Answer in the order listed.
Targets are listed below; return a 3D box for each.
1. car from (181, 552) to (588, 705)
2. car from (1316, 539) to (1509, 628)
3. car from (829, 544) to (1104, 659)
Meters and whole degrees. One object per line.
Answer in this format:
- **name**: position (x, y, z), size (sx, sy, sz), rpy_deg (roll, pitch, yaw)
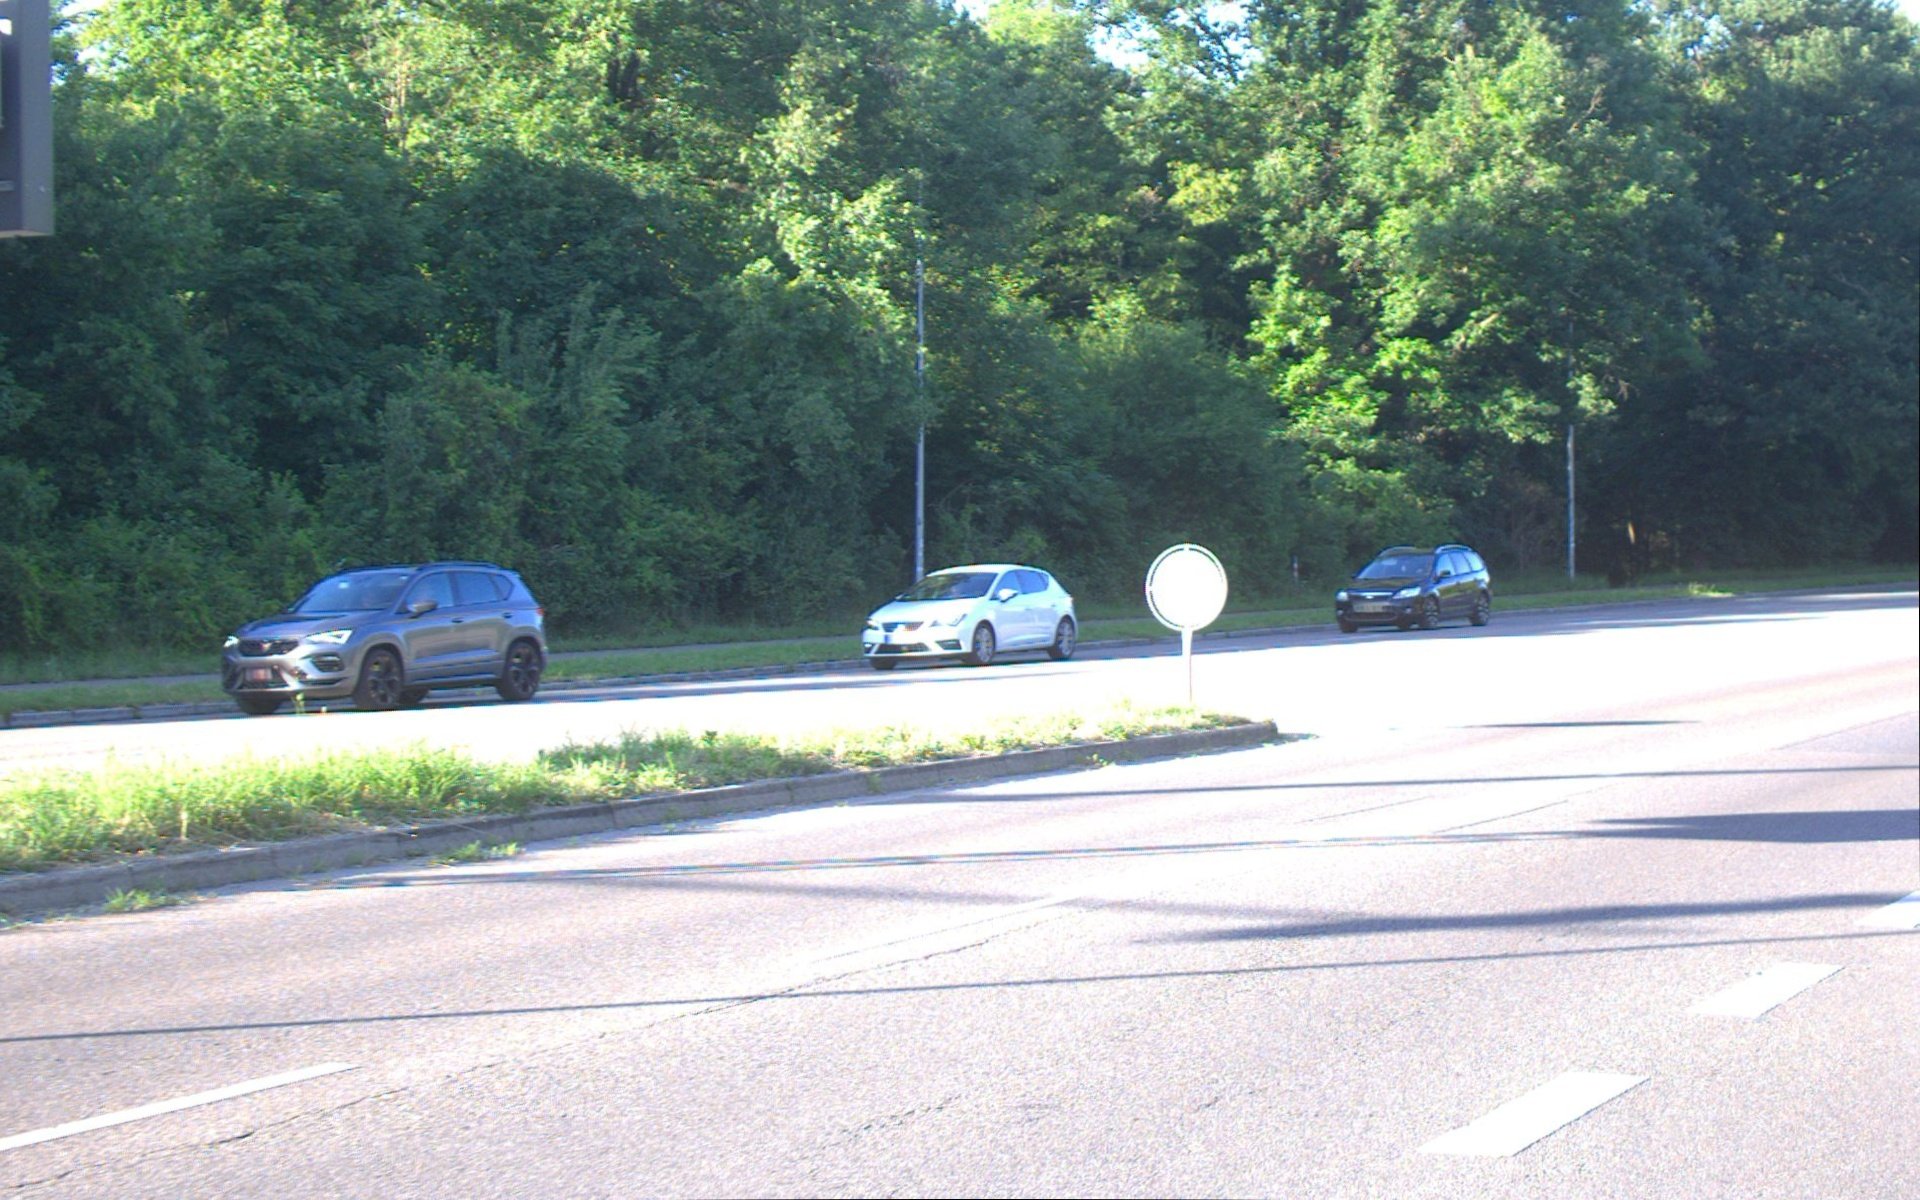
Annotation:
- **car**: position (-6.297, 0.282, 38.155), size (1.996, 1.559, 4.641), rpy_deg (-1, 0, 28)
- **car**: position (8.446, -0.326, 63.794), size (1.996, 1.559, 4.641), rpy_deg (-1, 0, 28)
- **car**: position (0.158, -0.006, 50.001), size (1.996, 1.559, 4.641), rpy_deg (-1, 0, 28)
